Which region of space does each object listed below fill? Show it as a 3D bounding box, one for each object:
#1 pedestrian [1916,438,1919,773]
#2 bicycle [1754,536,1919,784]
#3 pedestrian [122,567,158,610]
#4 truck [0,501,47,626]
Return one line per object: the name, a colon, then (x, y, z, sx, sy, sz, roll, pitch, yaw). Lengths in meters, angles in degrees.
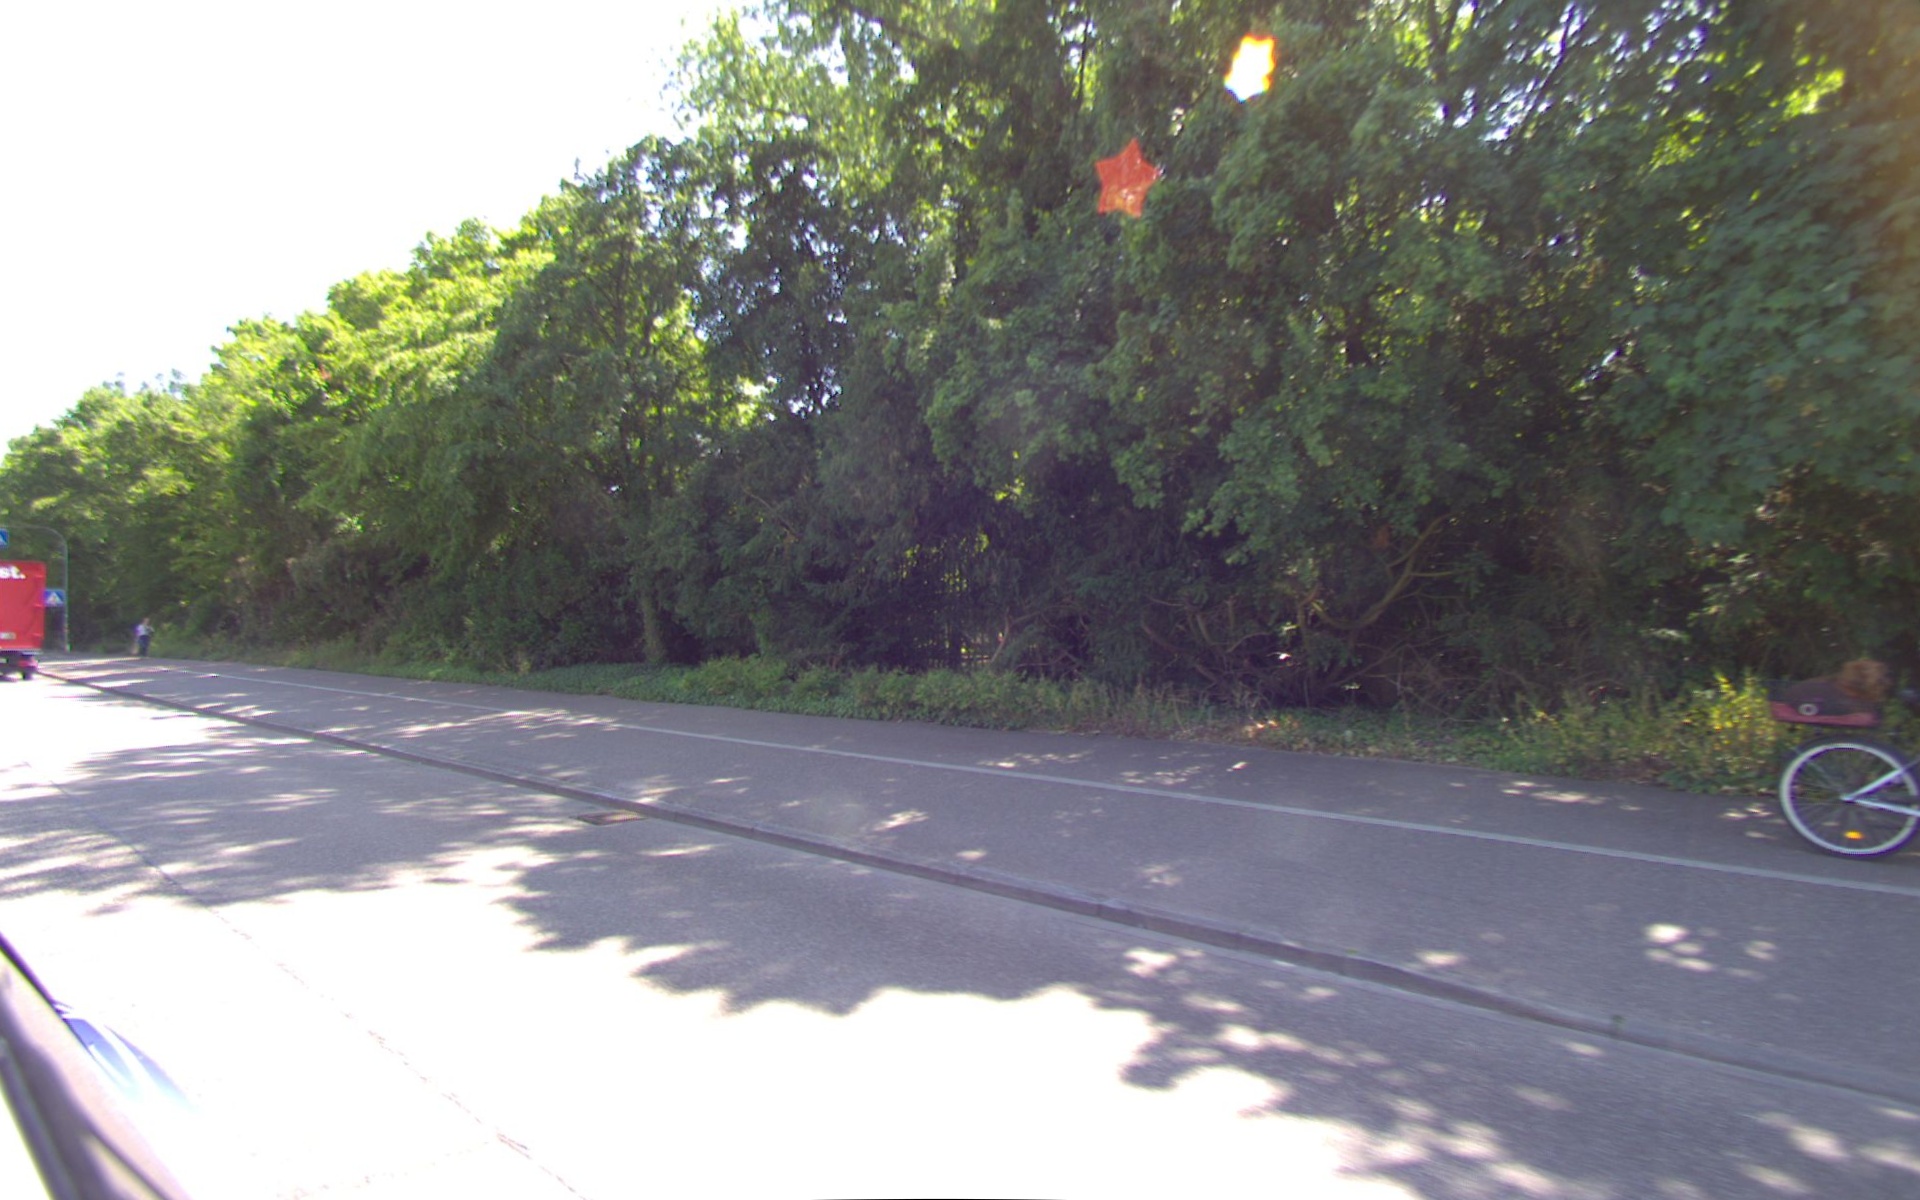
pedestrian: (5.495, 0.021, 5.121, 0.797, 1.731, 0.779, -2, 1, -33)
bicycle: (5.218, 0.307, 4.978, 0.514, 1.245, 1.966, -3, 4, -36)
pedestrian: (-31.614, -0.438, 39.016, 0.885, 1.624, 0.923, 0, 1, 40)
truck: (-29.464, -1.042, 30.396, 7.160, 3.466, 2.297, 1, -1, 43)
